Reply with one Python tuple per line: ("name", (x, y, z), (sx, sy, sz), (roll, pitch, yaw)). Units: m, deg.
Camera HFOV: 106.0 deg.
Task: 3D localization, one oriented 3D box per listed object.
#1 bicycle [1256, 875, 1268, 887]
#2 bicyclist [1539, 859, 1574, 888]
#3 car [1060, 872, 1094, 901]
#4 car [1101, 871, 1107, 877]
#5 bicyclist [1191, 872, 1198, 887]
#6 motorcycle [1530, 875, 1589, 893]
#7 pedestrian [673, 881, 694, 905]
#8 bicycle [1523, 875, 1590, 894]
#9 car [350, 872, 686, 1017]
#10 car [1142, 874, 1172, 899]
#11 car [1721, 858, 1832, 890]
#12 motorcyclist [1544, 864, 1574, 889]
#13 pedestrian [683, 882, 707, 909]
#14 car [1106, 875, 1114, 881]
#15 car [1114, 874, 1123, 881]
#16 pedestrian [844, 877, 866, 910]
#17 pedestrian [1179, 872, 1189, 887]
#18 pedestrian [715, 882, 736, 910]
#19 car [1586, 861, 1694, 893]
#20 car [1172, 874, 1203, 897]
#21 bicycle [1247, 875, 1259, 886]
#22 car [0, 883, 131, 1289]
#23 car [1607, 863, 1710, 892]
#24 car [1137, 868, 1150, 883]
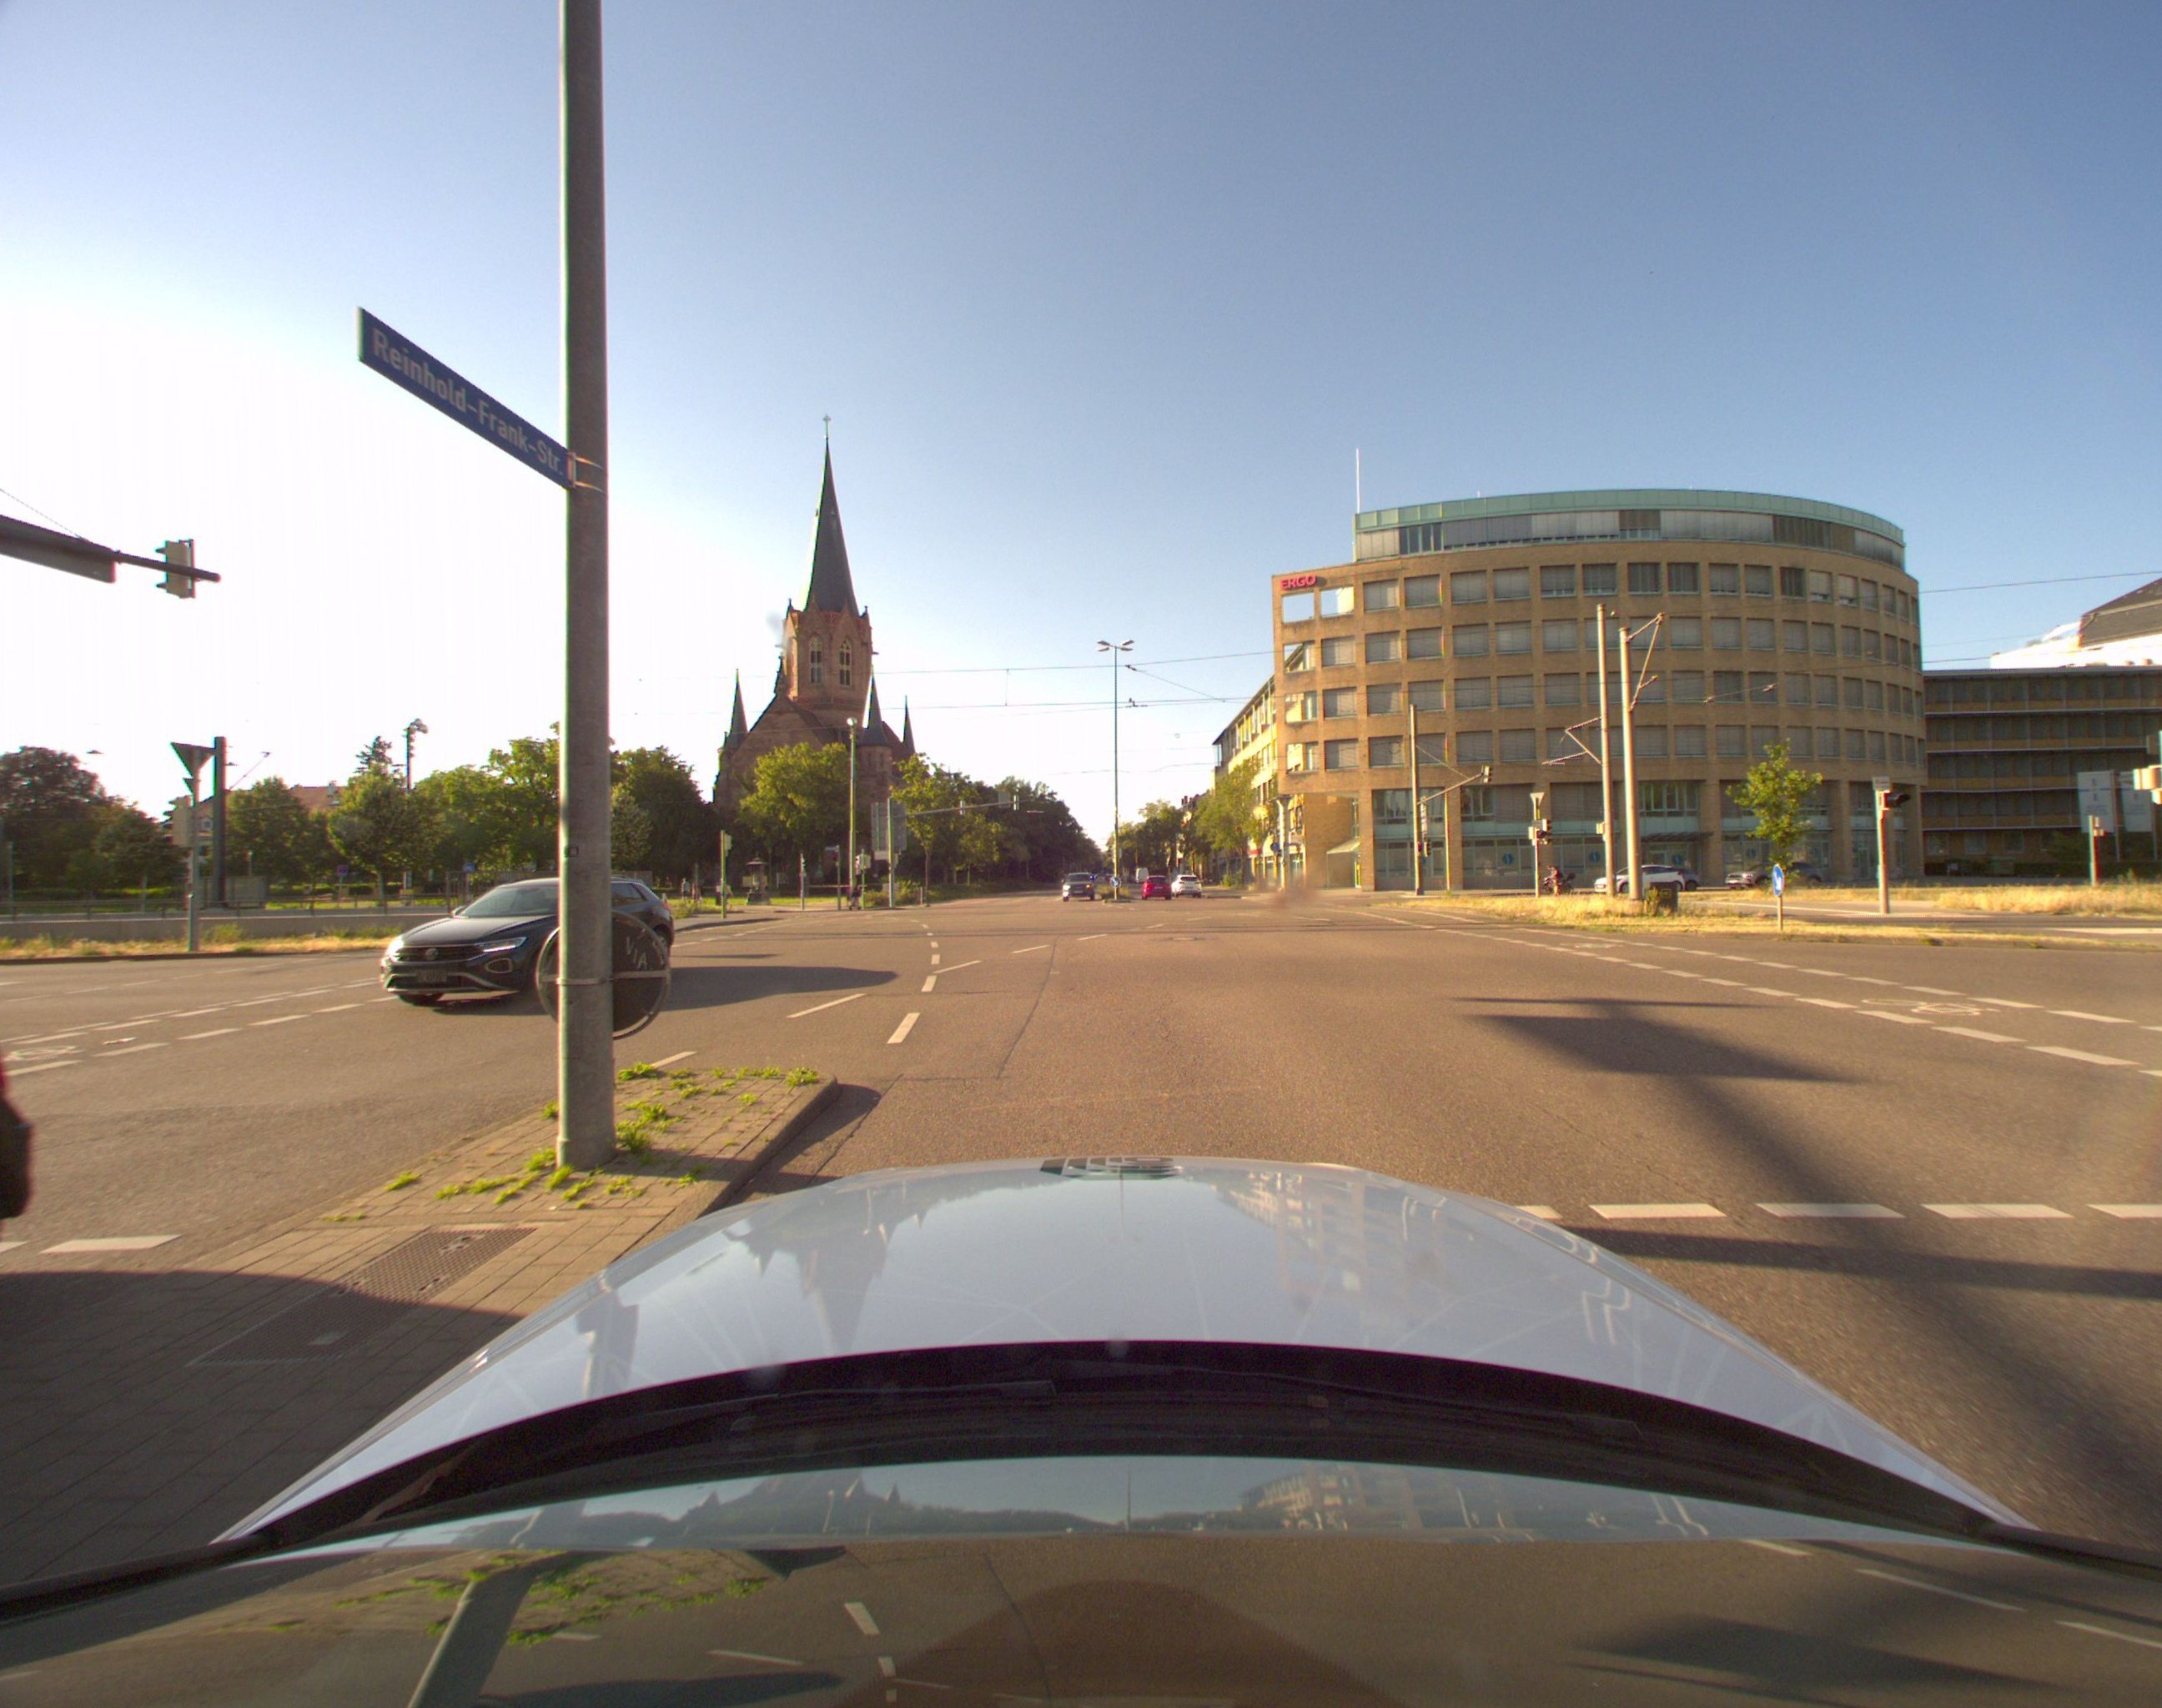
("bicycle", (15.721, 2.318, 70.686), (0.644, 0.995, 2.081), (-1, -2, 2))
("bicyclist", (25.909, 1.057, 44.387), (1.219, 1.572, 1.154), (-1, -2, 0))
("car", (-0.208, 2.046, 51.492), (1.987, 1.724, 5.030), (-1, -2, 0))
("car", (6.892, 5.955, 242.116), (1.879, 1.671, 4.002), (0, -1, 2))
("bicyclist", (10.888, 2.428, 78.245), (0.589, 1.369, 0.930), (0, -1, 2))
("motorcycle", (27.428, 1.732, 46.716), (2.708, 0.964, 1.032), (-1, -2, 1))
("pedestrian", (-27.742, 2.708, 56.810), (1.005, 1.696, 0.849), (0, -2, 20))
("bicycle", (25.876, 1.656, 44.381), (2.950, 1.000, 1.154), (-1, -2, 0))
("car", (-7.602, 1.103, 11.613), (1.788, 1.565, 4.149), (-2, 0, 1))
("car", (4.679, 1.968, 50.323), (1.663, 1.462, 4.002), (0, -1, 2))
("car", (35.443, 1.037, 41.586), (4.037, 1.492, 1.820), (-1, -2, 1))
("motorcyclist", (27.434, 1.286, 46.731), (1.061, 1.435, 1.032), (-1, -2, 1))
("pedestrian", (-24.191, 2.588, 51.030), (1.004, 1.696, 0.849), (-1, -2, 22))
("car", (6.432, 5.356, 178.983), (1.588, 1.267, 3.268), (-1, -1, 2))
("car", (6.964, 4.367, 149.747), (1.588, 1.267, 3.268), (-1, -1, 2))
("pedestrian", (-12.227, 2.149, 44.068), (0.961, 1.739, 0.813), (-1, -2, 3))
("pedestrian", (13.293, 3.312, 105.163), (1.103, 1.976, 1.162), (-1, -2, 2))
("pedestrian", (-21.719, 2.576, 49.748), (0.885, 1.696, 0.714), (-1, -2, 22))
("car", (28.565, 1.174, 41.698), (4.149, 1.492, 1.994), (-1, -2, 0))
("car", (7.772, 2.260, 59.646), (1.909, 1.607, 4.271), (0, -1, 2))
("bicycle", (15.873, 2.421, 75.214), (0.644, 0.995, 2.081), (-1, -2, 2))
("car", (-5.012, 0.918, 1.826), (1.572, 1.544, 3.479), (-3, -1, 2))
("car", (33.060, 1.333, 46.703), (4.463, 1.537, 1.987), (-1, -2, 2))
("car", (10.346, 3.575, 135.137), (1.985, 2.441, 4.002), (0, -1, 2))
